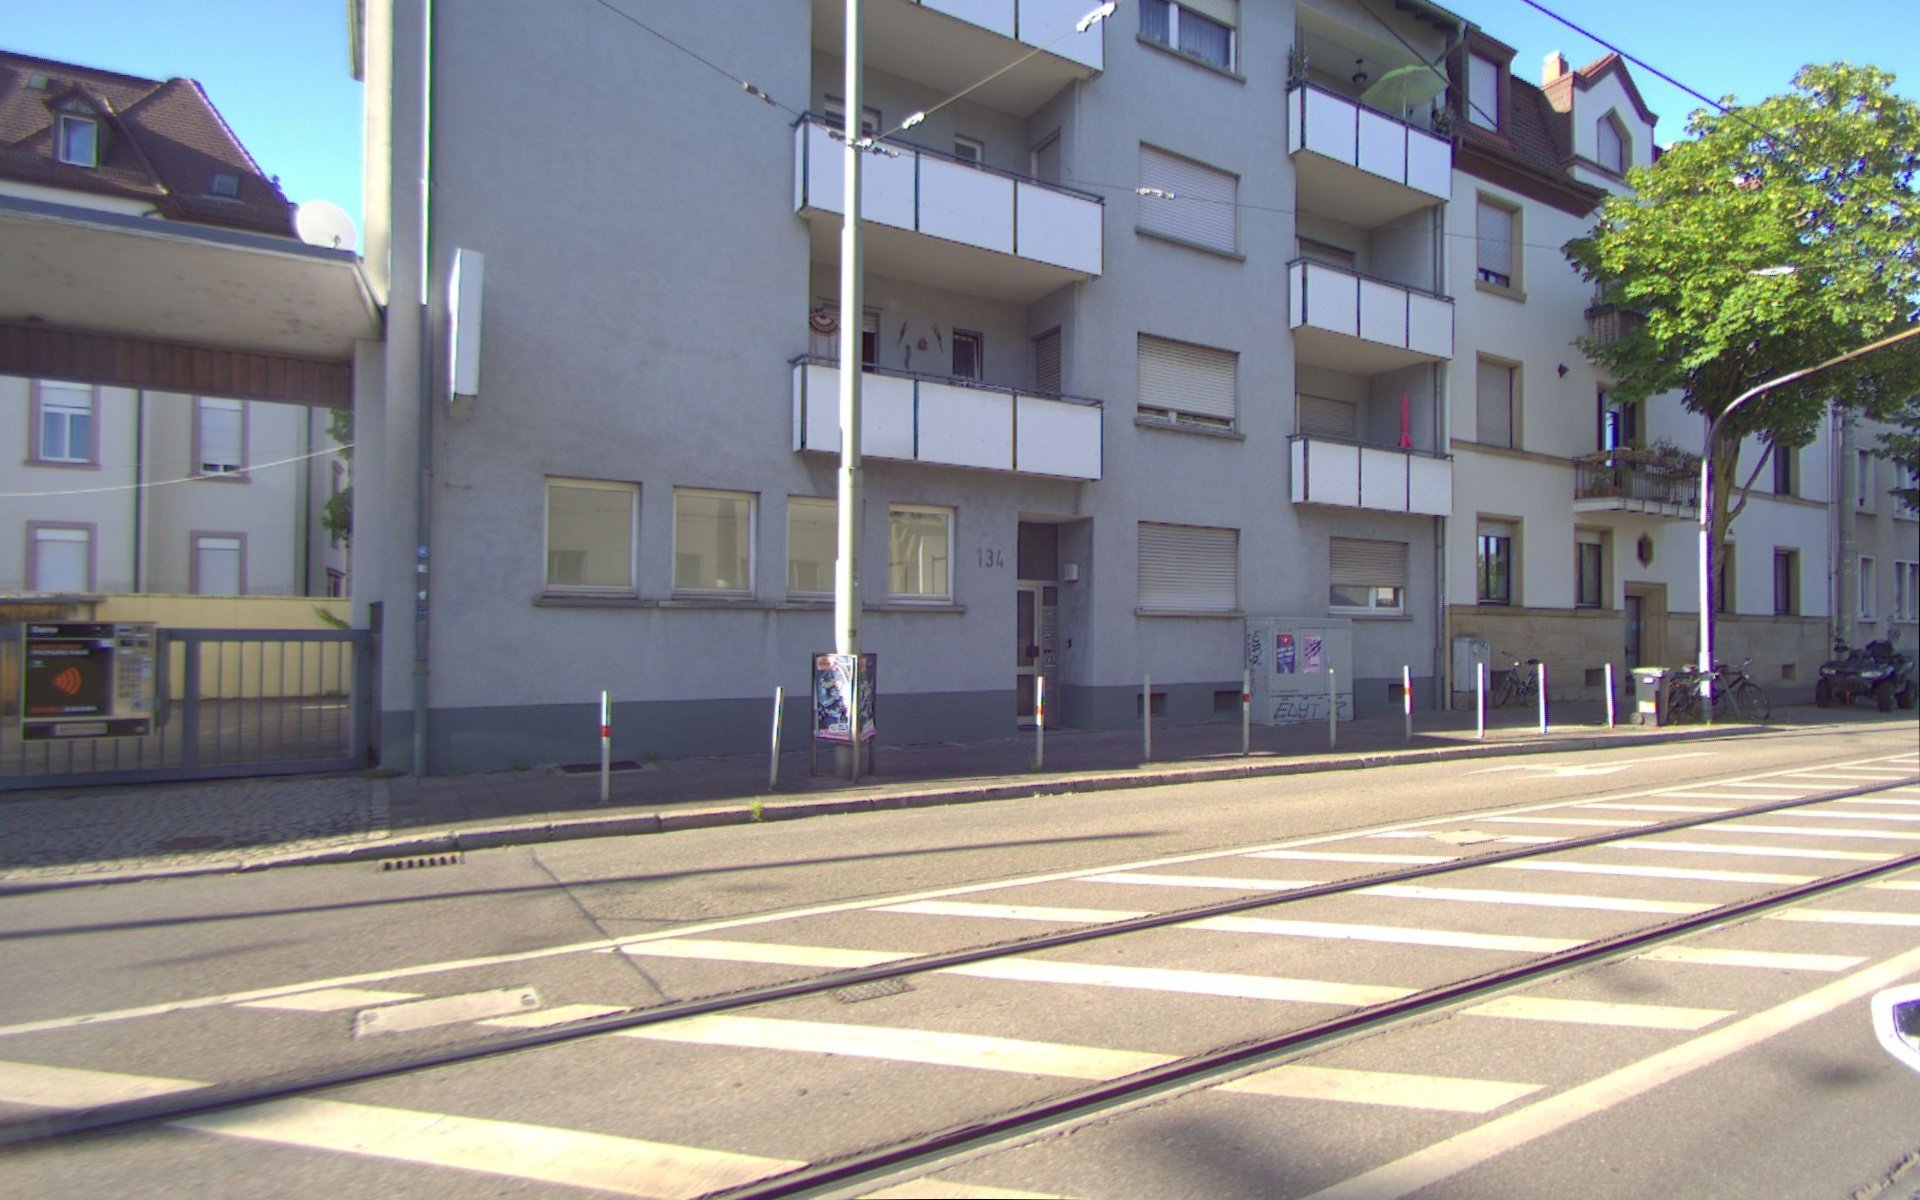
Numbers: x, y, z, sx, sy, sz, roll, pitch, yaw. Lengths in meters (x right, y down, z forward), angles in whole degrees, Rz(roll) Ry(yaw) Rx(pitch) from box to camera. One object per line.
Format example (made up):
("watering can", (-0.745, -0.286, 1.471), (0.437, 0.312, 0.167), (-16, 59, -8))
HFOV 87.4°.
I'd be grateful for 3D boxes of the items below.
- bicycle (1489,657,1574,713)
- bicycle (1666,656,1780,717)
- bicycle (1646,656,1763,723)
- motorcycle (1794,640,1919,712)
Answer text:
("bicycle", (11.134, 1.628, 19.542), (1.996, 1.020, 0.504), (1, -2, -31))
("bicycle", (14.190, 1.590, 18.710), (1.685, 1.047, 0.442), (0, -2, 40))
("bicycle", (12.939, 1.540, 17.499), (1.583, 1.058, 0.458), (0, -2, 29))
("motorcycle", (20.114, 1.647, 22.388), (3.067, 1.501, 1.451), (1, -3, -32))
